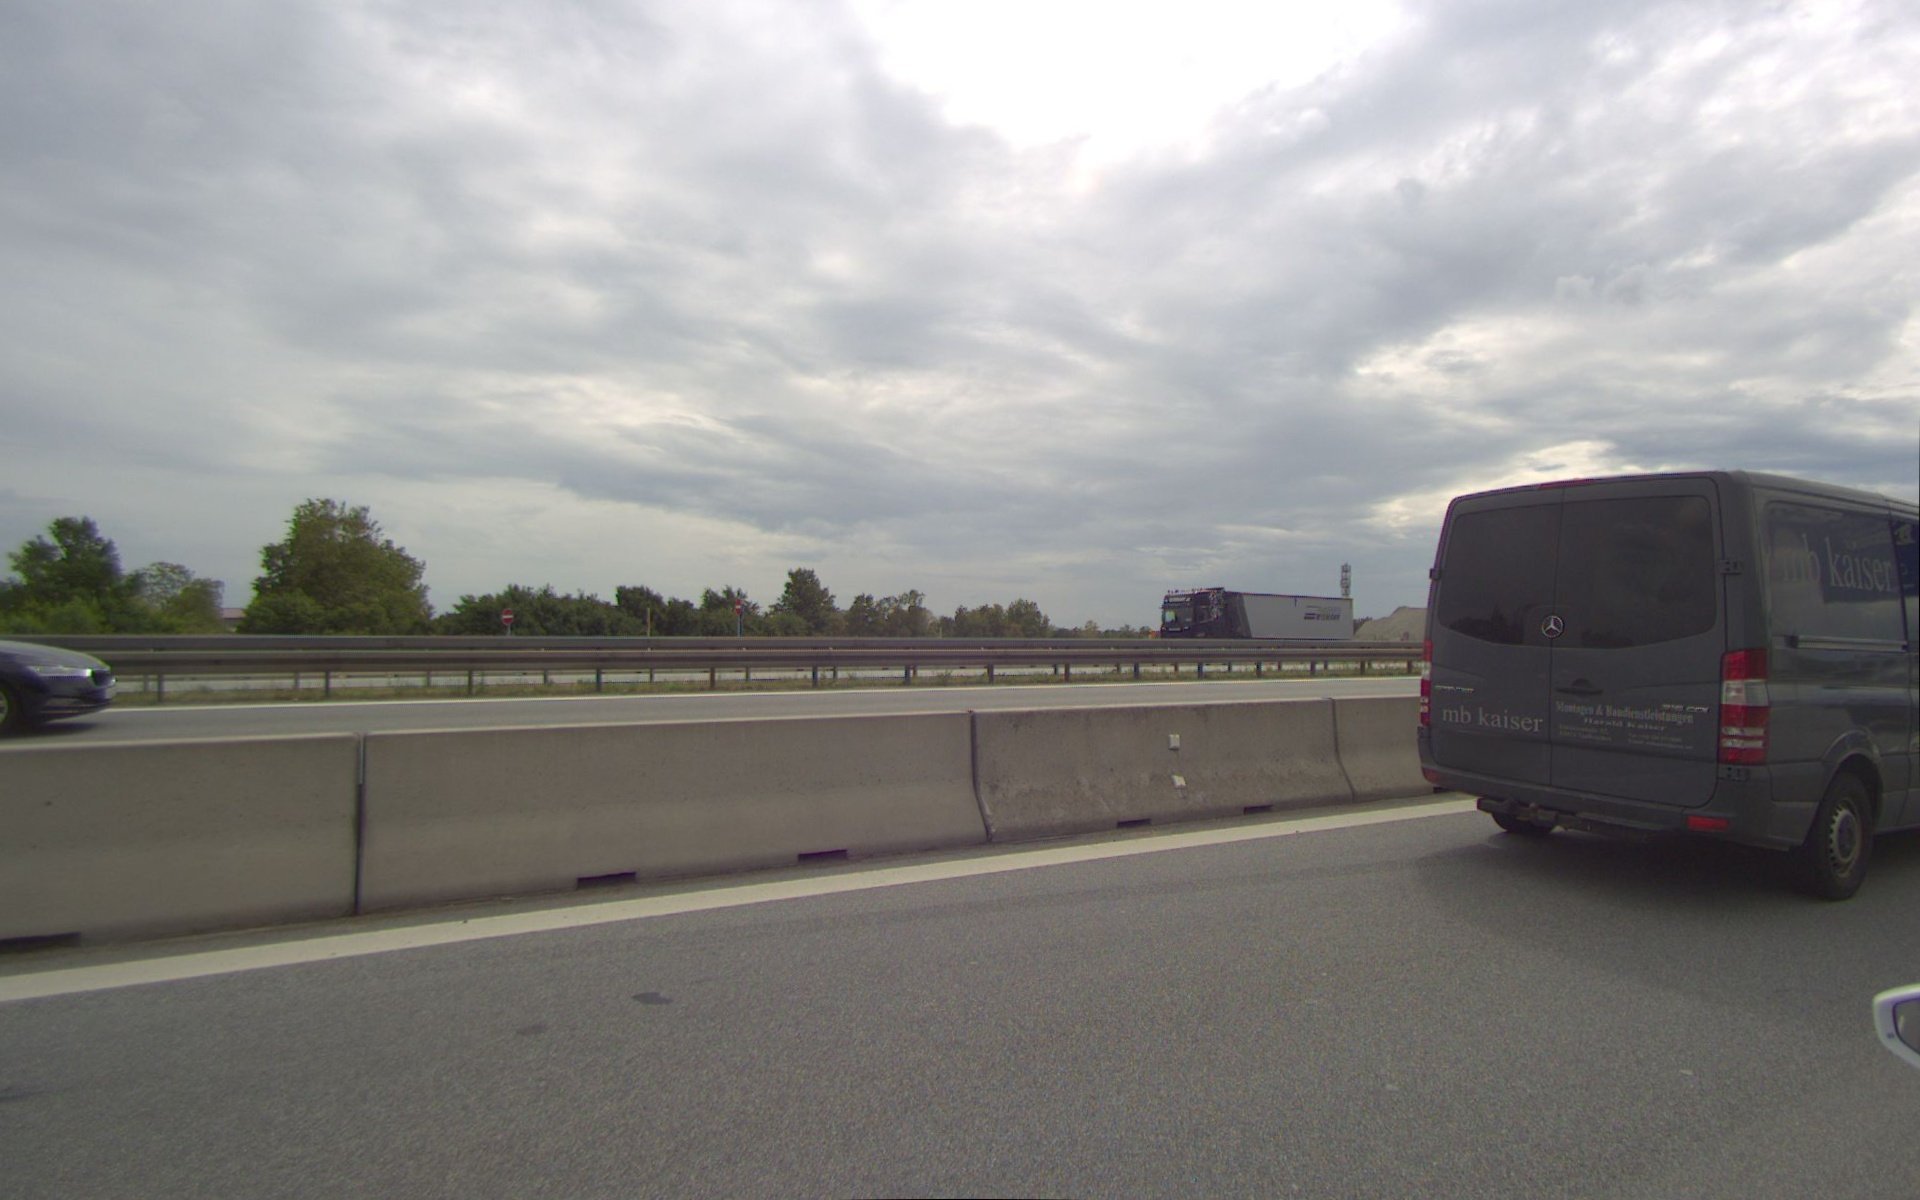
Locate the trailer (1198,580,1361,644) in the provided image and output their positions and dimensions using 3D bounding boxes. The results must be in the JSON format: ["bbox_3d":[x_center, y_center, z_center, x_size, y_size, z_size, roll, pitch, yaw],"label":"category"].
[{"bbox_3d":[17.871,0.747,55.820,9.717,3.313,3.179,2,-1,-33],"label":"trailer"}]

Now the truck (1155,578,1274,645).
[{"bbox_3d":[13.416,0.641,52.905,5.562,3.374,3.132,1,-1,-33],"label":"truck"}]

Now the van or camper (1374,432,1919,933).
[{"bbox_3d":[5.827,0.470,7.164,6.051,2.402,1.991,1,-1,-29],"label":"van or camper"}]

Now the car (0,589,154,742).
[{"bbox_3d":[-11.399,0.632,10.351,4.514,1.547,2.049,2,-1,-30],"label":"car"}]

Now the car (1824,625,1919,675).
[{"bbox_3d":[33.397,1.788,36.305,4.589,1.662,1.892,2,-1,-30],"label":"car"}]
